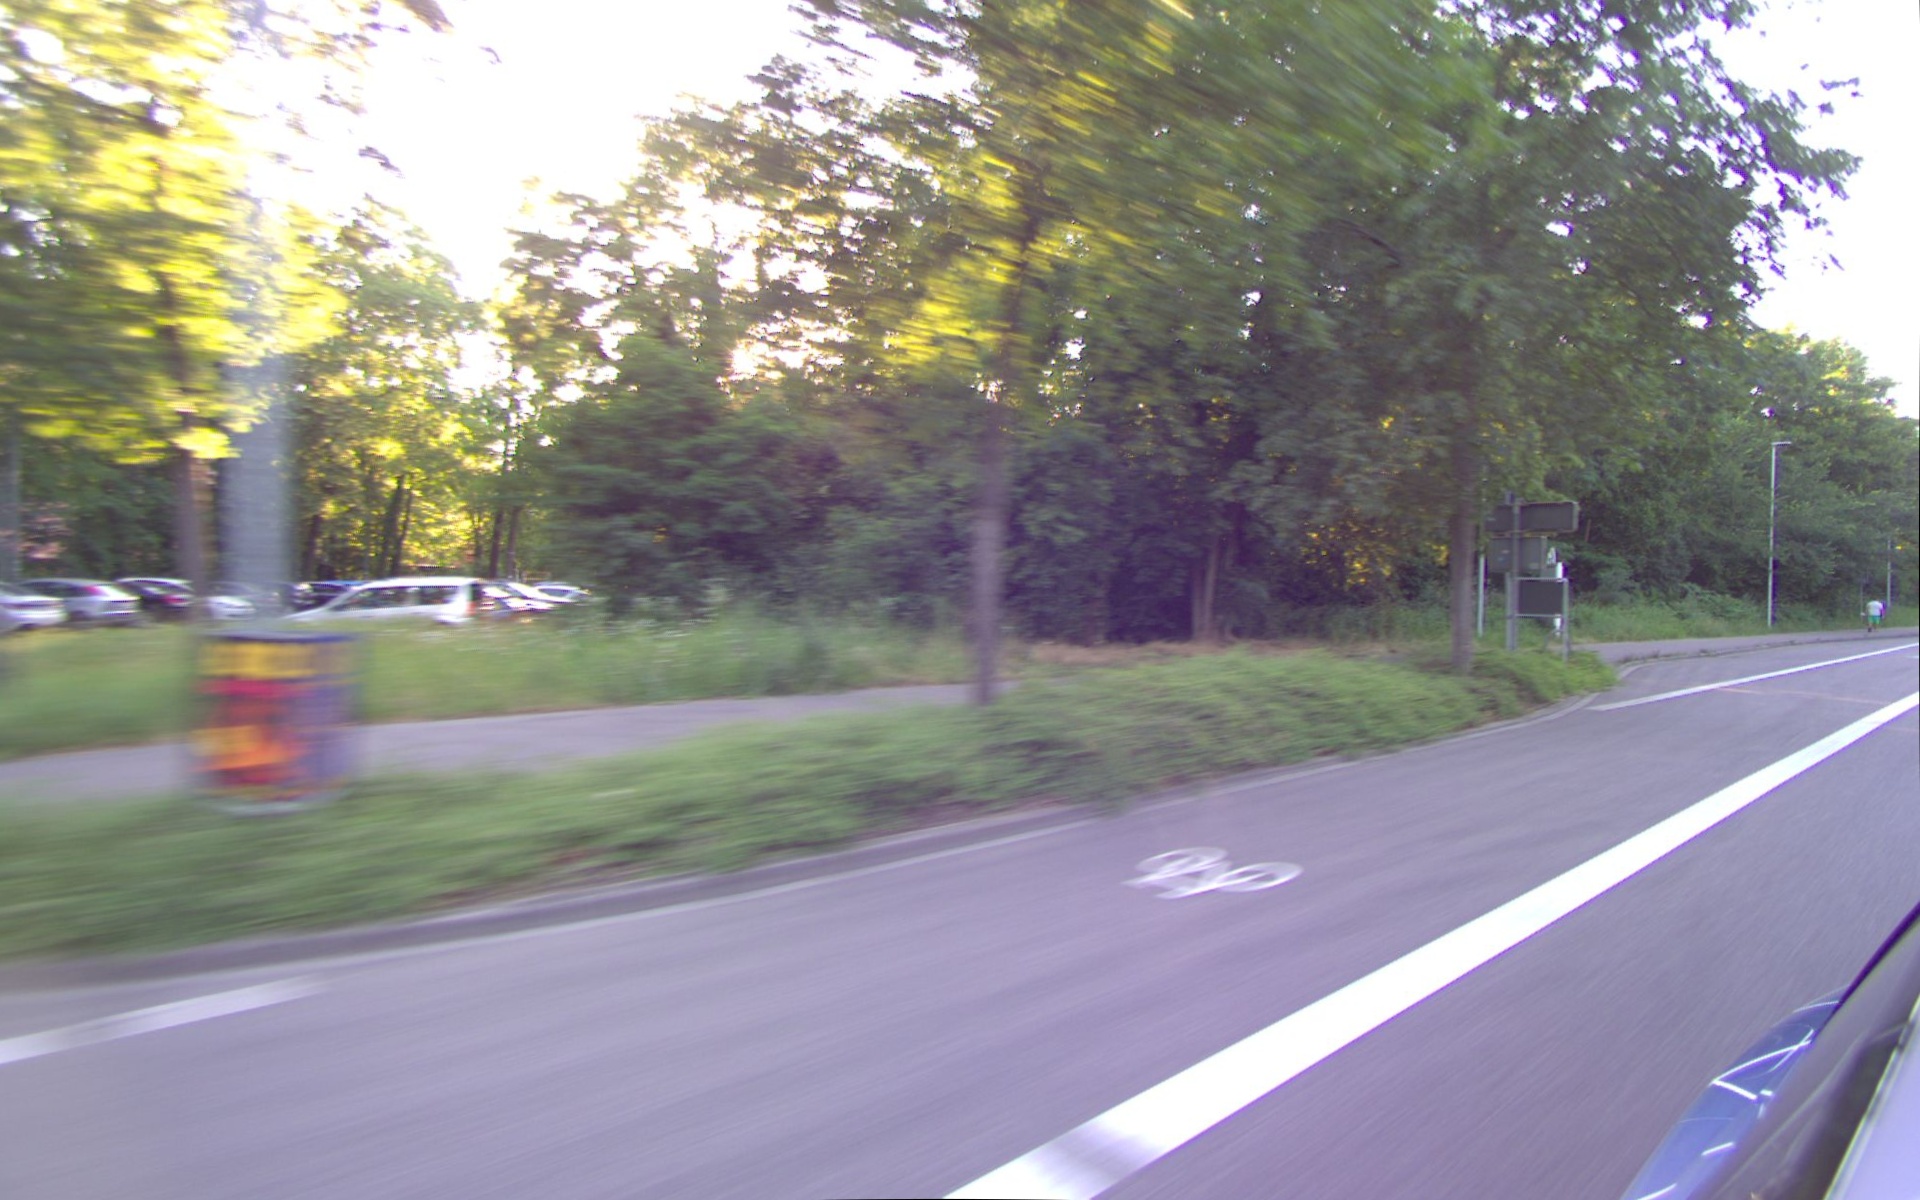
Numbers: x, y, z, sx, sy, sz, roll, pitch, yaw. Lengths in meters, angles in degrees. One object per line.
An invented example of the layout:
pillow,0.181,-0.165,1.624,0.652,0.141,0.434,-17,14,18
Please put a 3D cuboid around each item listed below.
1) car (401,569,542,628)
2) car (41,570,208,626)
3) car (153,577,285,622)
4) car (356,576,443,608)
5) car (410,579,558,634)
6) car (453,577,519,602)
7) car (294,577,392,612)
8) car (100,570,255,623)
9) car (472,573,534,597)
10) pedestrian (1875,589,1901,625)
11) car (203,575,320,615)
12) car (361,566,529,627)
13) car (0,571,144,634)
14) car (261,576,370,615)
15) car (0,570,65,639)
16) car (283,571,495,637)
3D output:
car,-14.762,-0.056,30.749,3.567,1.728,1.544,1,1,-11
car,-25.893,-0.068,31.451,3.762,1.667,1.544,1,1,-7
car,-26.800,-0.037,36.694,3.569,1.570,1.544,1,1,-7
car,-28.603,-0.421,51.745,3.569,1.533,1.544,1,1,-7
car,-13.518,0.181,28.901,3.567,1.500,1.544,1,1,-11
car,-30.561,-0.689,65.312,3.569,1.533,1.544,1,1,-7
car,-28.721,-0.284,47.164,3.569,1.570,1.544,1,1,-7
car,-26.365,-0.130,34.194,3.913,1.667,1.544,1,1,-7
car,-31.049,-1.022,68.847,3.569,1.533,1.544,1,1,-7
pedestrian,45.954,0.354,50.104,0.713,1.773,0.840,1,0,-40
car,-28.152,-0.212,40.854,3.569,1.570,1.544,1,1,-7
car,-13.169,-0.080,26.049,3.567,1.501,1.544,1,0,-11
car,-25.067,0.055,27.914,3.762,1.667,1.544,1,1,-7
car,-27.345,-0.201,43.011,3.569,1.570,1.544,1,1,-7
car,-24.745,0.074,24.993,3.762,1.667,1.544,1,1,-7
car,-12.897,0.082,23.058,3.916,1.414,1.544,1,1,-11
